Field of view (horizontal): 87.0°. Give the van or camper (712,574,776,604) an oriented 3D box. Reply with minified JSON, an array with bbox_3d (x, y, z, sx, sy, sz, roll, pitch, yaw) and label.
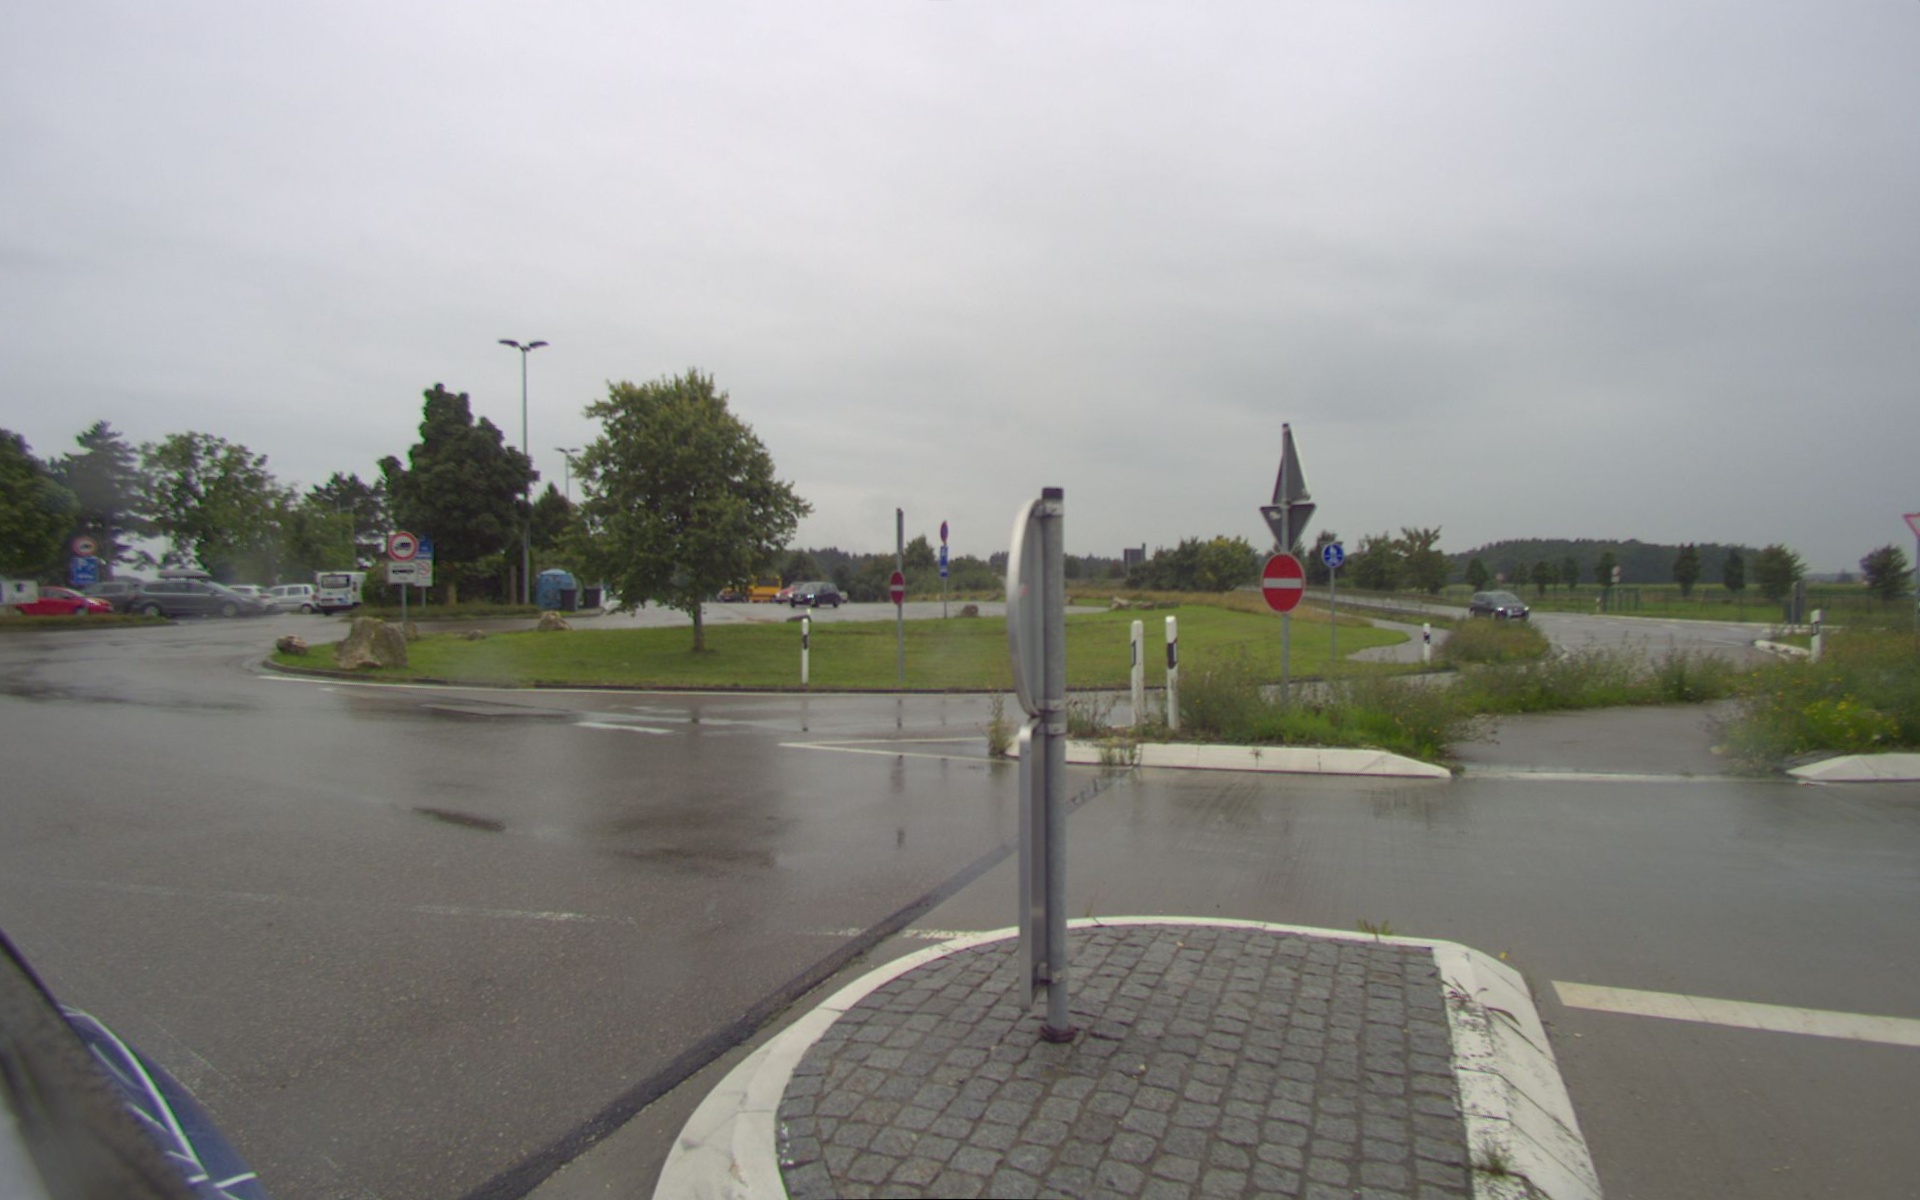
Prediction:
[{"bbox_3d":[-20.719,-1.094,97.460,1.990,2.735,7.003,2,2,27],"label":"van or camper"}]

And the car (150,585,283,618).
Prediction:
[{"bbox_3d":[-34.981,0.055,47.771,4.687,1.483,1.892,-1,2,-17],"label":"car"}]

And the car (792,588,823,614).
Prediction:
[{"bbox_3d":[-8.898,0.043,59.111,1.751,1.444,4.086,0,1,-8],"label":"car"}]

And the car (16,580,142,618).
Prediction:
[{"bbox_3d":[-43.904,-0.077,50.576,4.325,1.791,1.932,-1,2,-20],"label":"car"}]

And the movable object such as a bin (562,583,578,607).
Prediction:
[{"bbox_3d":[-15.016,-0.181,38.959,0.444,0.924,0.488,0,1,4],"label":"movable object such as a bin"}]

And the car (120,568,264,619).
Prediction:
[{"bbox_3d":[-34.062,-0.316,45.035,4.687,2.205,2.006,-1,2,-17],"label":"car"}]

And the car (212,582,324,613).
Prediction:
[{"bbox_3d":[-37.820,-0.154,55.426,4.687,1.599,2.006,-1,2,-17],"label":"car"}]

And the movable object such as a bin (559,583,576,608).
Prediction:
[{"bbox_3d":[-14.891,-0.186,38.415,0.444,0.945,0.488,0,1,4],"label":"movable object such as a bin"}]

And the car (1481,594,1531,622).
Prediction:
[{"bbox_3d":[30.794,0.419,57.204,1.571,1.464,3.739,0,1,14],"label":"car"}]

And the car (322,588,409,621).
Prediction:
[{"bbox_3d":[-40.104,0.287,68.361,4.687,2.096,2.006,-1,2,-17],"label":"car"}]

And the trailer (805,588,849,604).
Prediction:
[{"bbox_3d":[-9.491,-0.261,72.338,1.583,1.075,2.999,0,0,30],"label":"trailer"}]

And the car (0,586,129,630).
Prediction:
[{"bbox_3d":[-40.838,0.320,45.967,4.325,1.899,1.932,-1,2,-20],"label":"car"}]

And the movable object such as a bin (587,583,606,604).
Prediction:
[{"bbox_3d":[-16.399,-0.298,45.690,0.624,0.927,0.554,0,1,14],"label":"movable object such as a bin"}]

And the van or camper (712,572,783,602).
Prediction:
[{"bbox_3d":[-17.008,-1.046,81.472,2.124,2.263,6.359,1,1,27],"label":"van or camper"}]

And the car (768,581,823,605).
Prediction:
[{"bbox_3d":[-11.218,-0.506,69.233,1.544,1.567,4.015,1,1,30],"label":"car"}]

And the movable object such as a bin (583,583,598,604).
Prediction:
[{"bbox_3d":[-16.359,-0.291,44.828,0.490,0.927,0.414,0,1,14],"label":"movable object such as a bin"}]

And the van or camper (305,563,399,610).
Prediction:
[{"bbox_3d":[-28.838,-0.698,48.212,2.159,1.959,5.210,1,3,-11],"label":"van or camper"}]
